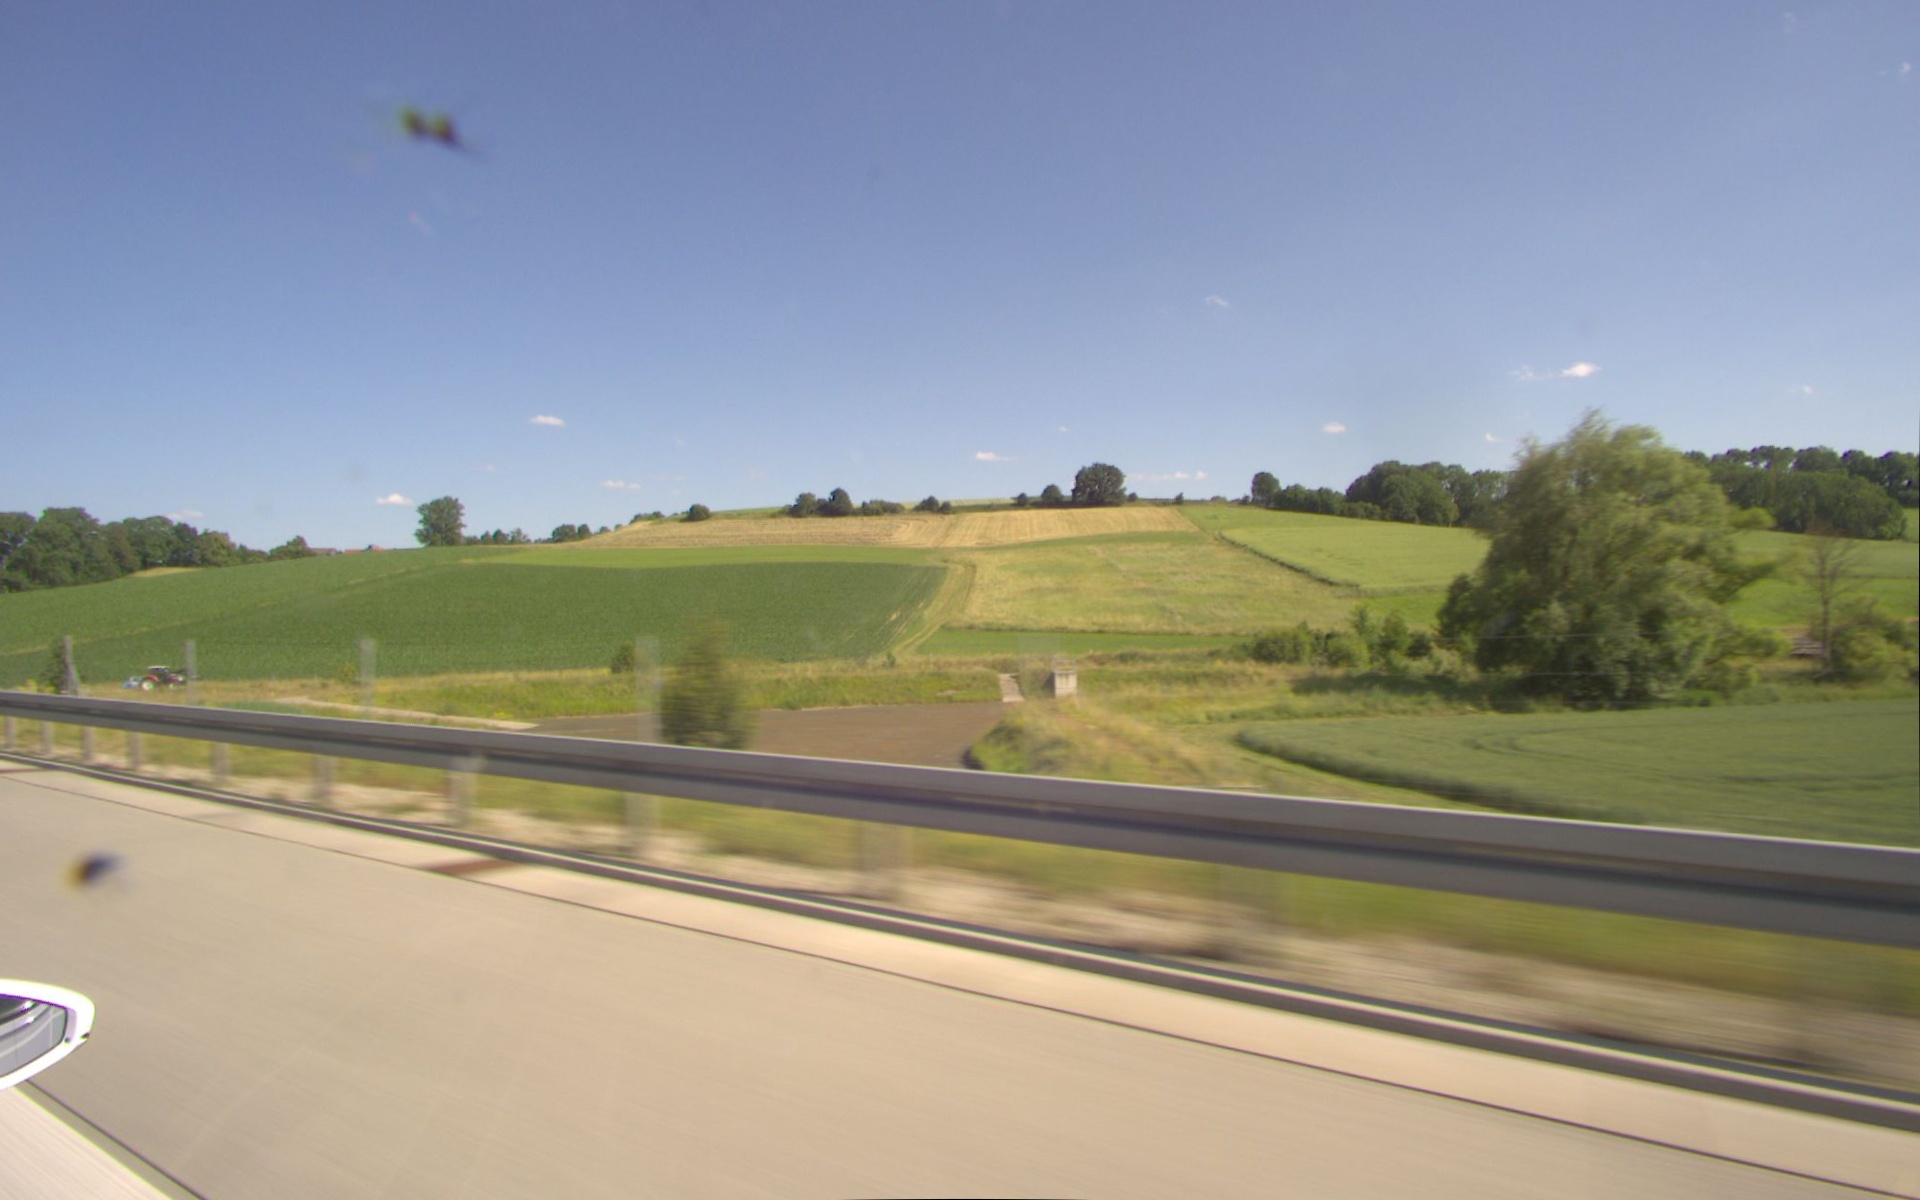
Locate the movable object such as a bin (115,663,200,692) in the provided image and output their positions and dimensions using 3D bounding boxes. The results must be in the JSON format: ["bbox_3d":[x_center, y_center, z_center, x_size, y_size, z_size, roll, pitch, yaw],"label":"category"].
[{"bbox_3d":[-84.554,8.111,105.612,6.121,2.806,3.283,0,-2,-16],"label":"movable object such as a bin"}]
